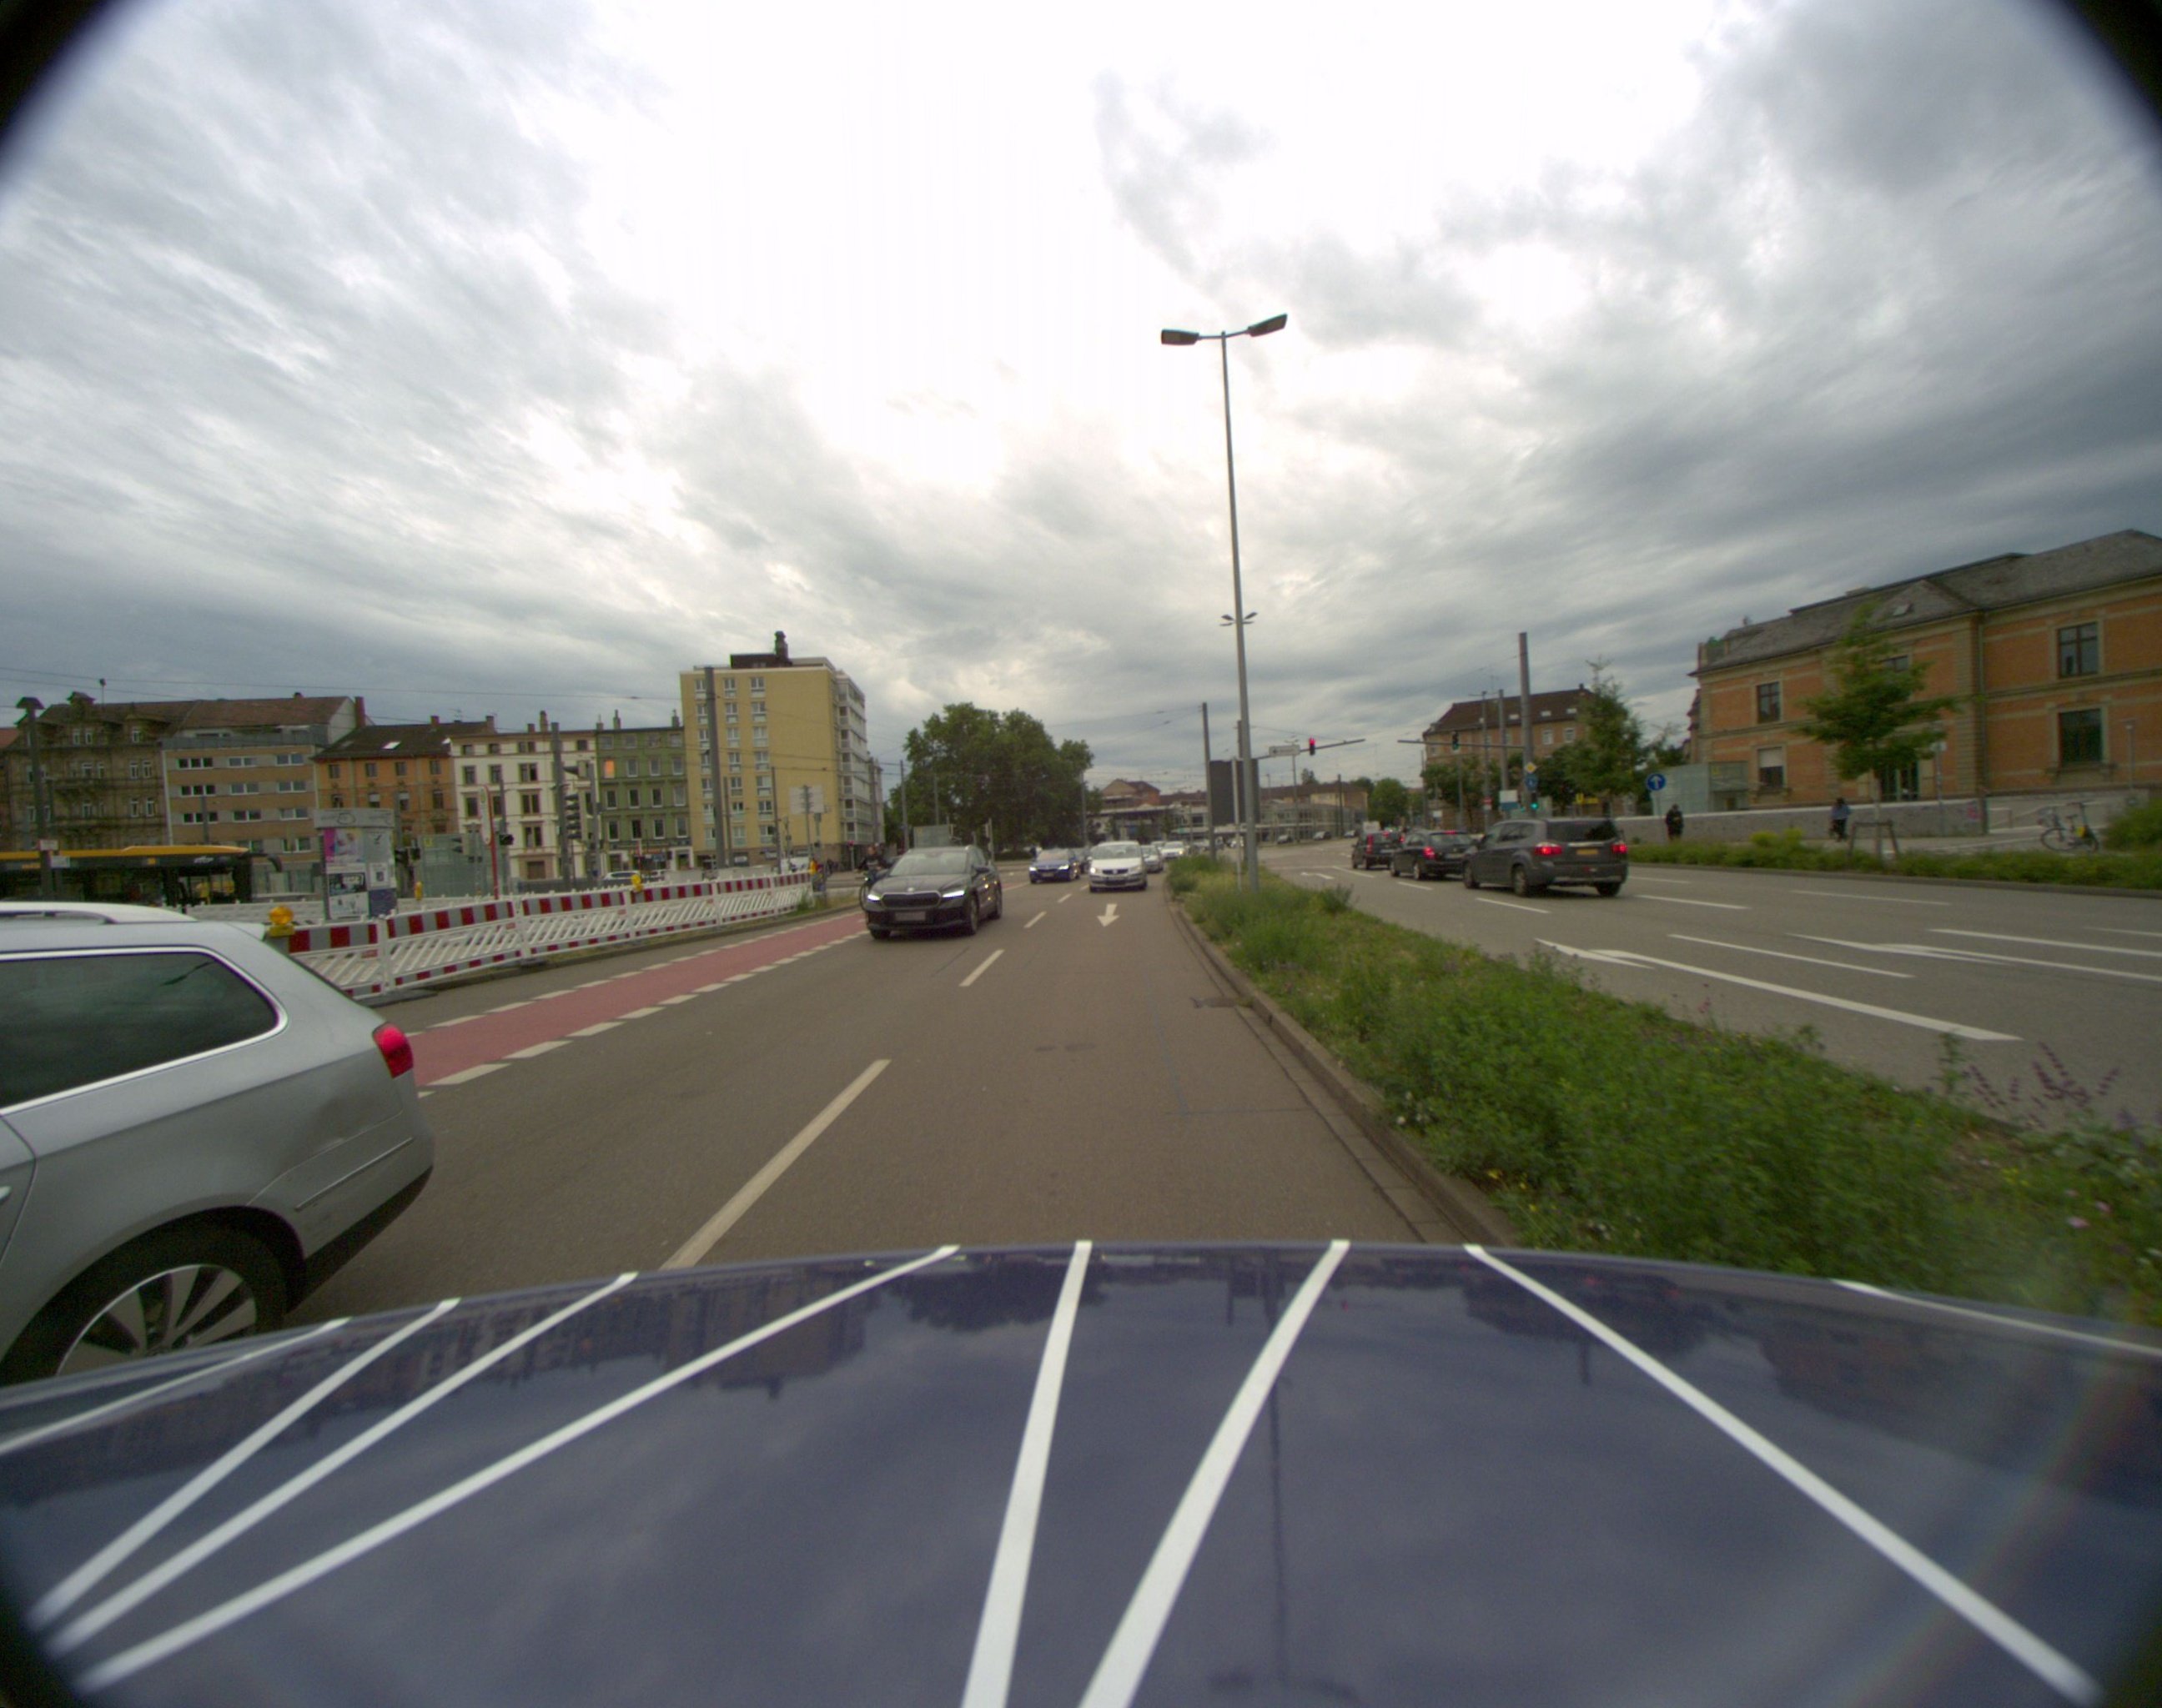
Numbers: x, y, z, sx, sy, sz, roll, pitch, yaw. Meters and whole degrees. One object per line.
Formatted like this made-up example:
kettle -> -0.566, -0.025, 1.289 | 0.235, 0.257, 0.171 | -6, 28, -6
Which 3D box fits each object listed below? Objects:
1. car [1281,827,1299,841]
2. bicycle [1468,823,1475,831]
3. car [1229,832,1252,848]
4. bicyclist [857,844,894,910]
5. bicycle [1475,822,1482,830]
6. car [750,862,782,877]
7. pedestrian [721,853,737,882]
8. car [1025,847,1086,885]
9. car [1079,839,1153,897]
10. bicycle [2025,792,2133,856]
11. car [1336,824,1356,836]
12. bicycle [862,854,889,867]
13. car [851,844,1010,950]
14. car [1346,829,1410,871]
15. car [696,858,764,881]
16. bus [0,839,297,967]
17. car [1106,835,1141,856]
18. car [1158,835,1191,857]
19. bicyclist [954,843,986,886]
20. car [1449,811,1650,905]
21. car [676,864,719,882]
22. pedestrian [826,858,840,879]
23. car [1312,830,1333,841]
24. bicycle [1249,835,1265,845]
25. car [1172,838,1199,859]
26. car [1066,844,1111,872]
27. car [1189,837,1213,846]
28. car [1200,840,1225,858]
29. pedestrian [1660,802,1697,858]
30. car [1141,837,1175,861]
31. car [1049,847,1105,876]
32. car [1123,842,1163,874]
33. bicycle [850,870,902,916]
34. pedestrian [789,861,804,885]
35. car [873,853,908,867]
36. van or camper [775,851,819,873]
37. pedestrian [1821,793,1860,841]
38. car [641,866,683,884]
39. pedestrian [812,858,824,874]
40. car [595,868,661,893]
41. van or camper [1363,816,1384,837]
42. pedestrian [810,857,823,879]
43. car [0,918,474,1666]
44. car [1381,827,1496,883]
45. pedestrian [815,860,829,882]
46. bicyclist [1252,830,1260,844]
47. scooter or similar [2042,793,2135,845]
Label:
car -> 33.333, -3.184, 121.079 | 1.995, 2.002, 4.006 | -3, 1, 27
bicycle -> 53.077, -3.653, 103.307 | 0.835, 1.024, 2.400 | -3, 1, 26
car -> 21.772, -1.975, 103.631 | 1.995, 2.002, 4.006 | -3, 1, 27
bicyclist -> -5.447, 0.586, 20.161 | 0.617, 1.680, 0.806 | -3, 1, 3
bicycle -> 53.845, -3.790, 102.886 | 0.753, 1.024, 2.400 | -3, 1, 26
car -> -31.516, 1.541, 75.920 | 1.739, 1.409, 3.728 | -5, 2, -42
pedestrian -> -23.637, 0.890, 50.986 | 0.785, 1.901, 0.902 | -4, 2, -28
car -> -1.047, 0.460, 33.849 | 1.769, 1.428, 4.759 | -3, 1, 8
car -> 1.236, 0.355, 24.353 | 1.862, 1.609, 5.064 | -2, 1, 8
bicycle -> 24.410, -0.742, 18.642 | 0.847, 1.440, 2.258 | -2, 1, 32
car -> 53.196, -4.884, 152.323 | 2.368, 2.121, 5.138 | -2, 1, 36
bicycle -> -22.988, 0.715, 85.064 | 2.783, 1.369, 0.903 | -3, 1, -4
car -> -2.727, 0.702, 14.956 | 1.908, 1.649, 4.515 | -3, 1, 3
car -> 11.747, -0.198, 30.247 | 1.621, 1.507, 3.666 | -2, 1, 9
car -> -28.116, 1.217, 61.035 | 4.443, 1.477, 1.999 | -3, 1, -3
bus -> -30.920, 1.506, 20.600 | 3.018, 3.249, 13.065 | -2, 1, 39
car -> 3.417, -0.718, 60.822 | 1.996, 1.499, 4.003 | -3, 1, 14
car -> 6.852, -0.579, 55.552 | 1.971, 1.447, 4.196 | -3, 1, 12
bicyclist -> -4.390, 0.399, 30.084 | 0.789, 1.609, 0.934 | -4, 1, 22
car -> 9.924, 0.023, 16.620 | 1.874, 1.715, 4.713 | -2, 1, 6
car -> -37.139, 1.862, 73.564 | 3.728, 1.573, 1.895 | -3, 2, 31
pedestrian -> -19.088, 1.112, 58.405 | 0.785, 1.593, 0.895 | -4, 2, -28
car -> 42.878, -3.246, 134.788 | 2.368, 1.745, 5.137 | -3, 1, 30
bicycle -> 19.726, -1.542, 85.268 | 1.615, 1.064, 0.527 | -3, 1, -13
car -> 11.045, -0.637, 80.166 | 1.996, 2.002, 4.004 | -3, 1, 18
car -> 0.516, 0.210, 47.273 | 1.707, 1.475, 3.937 | -4, 1, 16
car -> 20.999, -2.193, 132.826 | 3.900, 1.433, 1.734 | -3, 1, 17
car -> 16.050, -0.652, 92.360 | 1.995, 2.002, 4.005 | -3, 1, 24
pedestrian -> 21.810, -0.872, 27.736 | 0.820, 1.969, 0.659 | -2, 1, 12
car -> 7.358, -0.498, 72.129 | 1.995, 2.002, 4.005 | -3, 1, 24
car -> -0.145, 0.364, 41.733 | 1.768, 1.362, 4.426 | -2, 1, 17
car -> 3.202, 0.161, 38.723 | 1.809, 1.398, 3.984 | -3, 1, 7
bicycle -> -5.412, 1.007, 20.221 | 0.626, 1.049, 2.126 | -3, 1, 4
pedestrian -> -19.769, 1.326, 52.779 | 0.785, 1.634, 0.902 | -4, 2, -28
car -> -23.806, 0.756, 95.051 | 4.001, 1.456, 1.998 | -4, 1, -13
van or camper -> -28.422, 0.809, 76.069 | 2.176, 1.967, 5.452 | -4, 2, -42
pedestrian -> 28.554, -1.376, 28.567 | 0.748, 1.724, 0.686 | -2, 1, 12
car -> -40.371, 2.040, 73.173 | 3.728, 1.578, 1.739 | -3, 2, 31
pedestrian -> -28.551, 1.281, 82.496 | 0.906, 1.727, 0.813 | -3, 1, -5
car -> -36.335, 2.114, 60.999 | 3.998, 1.740, 1.999 | -3, 1, -3
van or camper -> 37.415, -3.453, 97.334 | 2.281, 2.513, 5.580 | -2, 1, 20
pedestrian -> -21.919, 1.161, 62.924 | 0.789, 1.747, 1.047 | -3, 2, -27
car -> -3.211, 1.043, 0.530 | 1.724, 1.474, 4.628 | -2, 1, 1
car -> 10.569, -0.030, 22.822 | 1.874, 1.499, 4.480 | -1, 1, 8
pedestrian -> -19.857, 1.293, 58.245 | 0.769, 1.602, 0.949 | -4, 2, -28
bicyclist -> 19.659, -1.899, 85.227 | 0.655, 1.630, 0.517 | -3, 2, -12
scooter or similar -> 27.026, -0.932, 20.391 | 1.775, 1.295, 0.630 | -3, 1, -5
